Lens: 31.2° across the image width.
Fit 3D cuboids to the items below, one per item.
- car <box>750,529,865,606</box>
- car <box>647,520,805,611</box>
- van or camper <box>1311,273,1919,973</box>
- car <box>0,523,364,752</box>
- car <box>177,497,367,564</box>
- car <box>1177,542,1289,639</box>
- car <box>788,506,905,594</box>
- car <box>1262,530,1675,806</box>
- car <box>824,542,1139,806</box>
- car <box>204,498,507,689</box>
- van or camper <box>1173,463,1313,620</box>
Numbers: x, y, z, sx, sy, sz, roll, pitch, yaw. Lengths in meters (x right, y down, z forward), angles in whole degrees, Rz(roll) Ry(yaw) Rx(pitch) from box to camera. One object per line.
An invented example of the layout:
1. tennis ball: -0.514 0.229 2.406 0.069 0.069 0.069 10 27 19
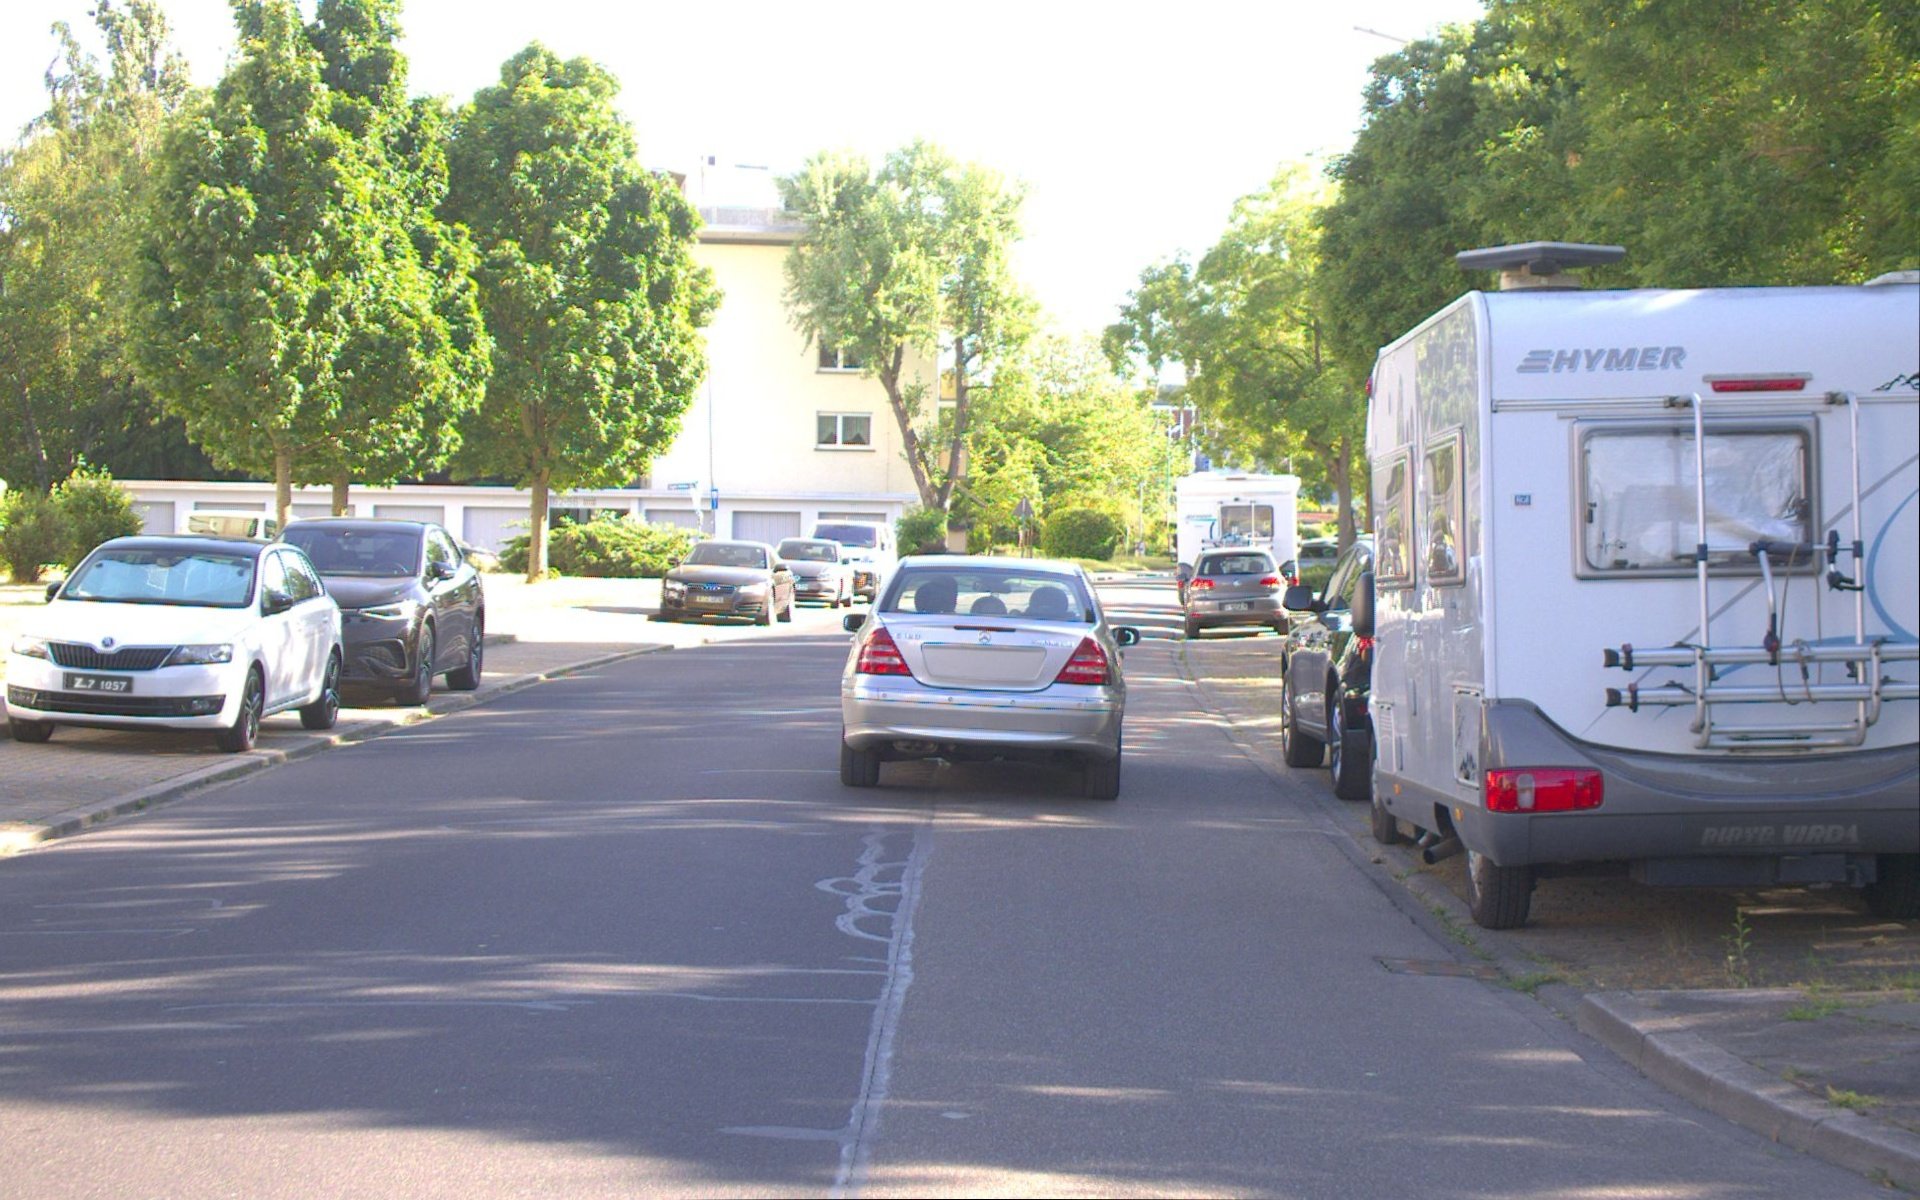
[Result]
1. car: -3.204 -0.692 72.992 1.833 1.513 4.221 3 1 5
2. car: -4.028 -0.633 60.014 2.035 1.487 5.256 1 1 4
3. van or camper: 3.163 0.014 16.199 2.351 2.587 6.426 -2 1 1
4. car: -5.600 0.202 24.930 1.646 1.461 4.330 2 1 2
5. car: -20.693 -2.081 103.458 5.108 1.944 2.236 1 1 12
6. car: 4.667 -0.193 59.184 1.720 1.519 4.428 -2 1 3
7. car: -2.591 -1.159 79.613 2.015 1.879 5.190 3 1 5
8. car: 3.267 0.365 22.999 1.993 1.635 4.537 -1 1 -1
9. car: 0.143 0.413 21.328 1.733 1.429 3.438 3 0 1
10. car: -5.452 -0.087 31.594 1.914 1.598 4.812 1 1 0
11. van or camper: 5.378 -1.142 66.249 2.497 2.835 6.851 1 1 3
